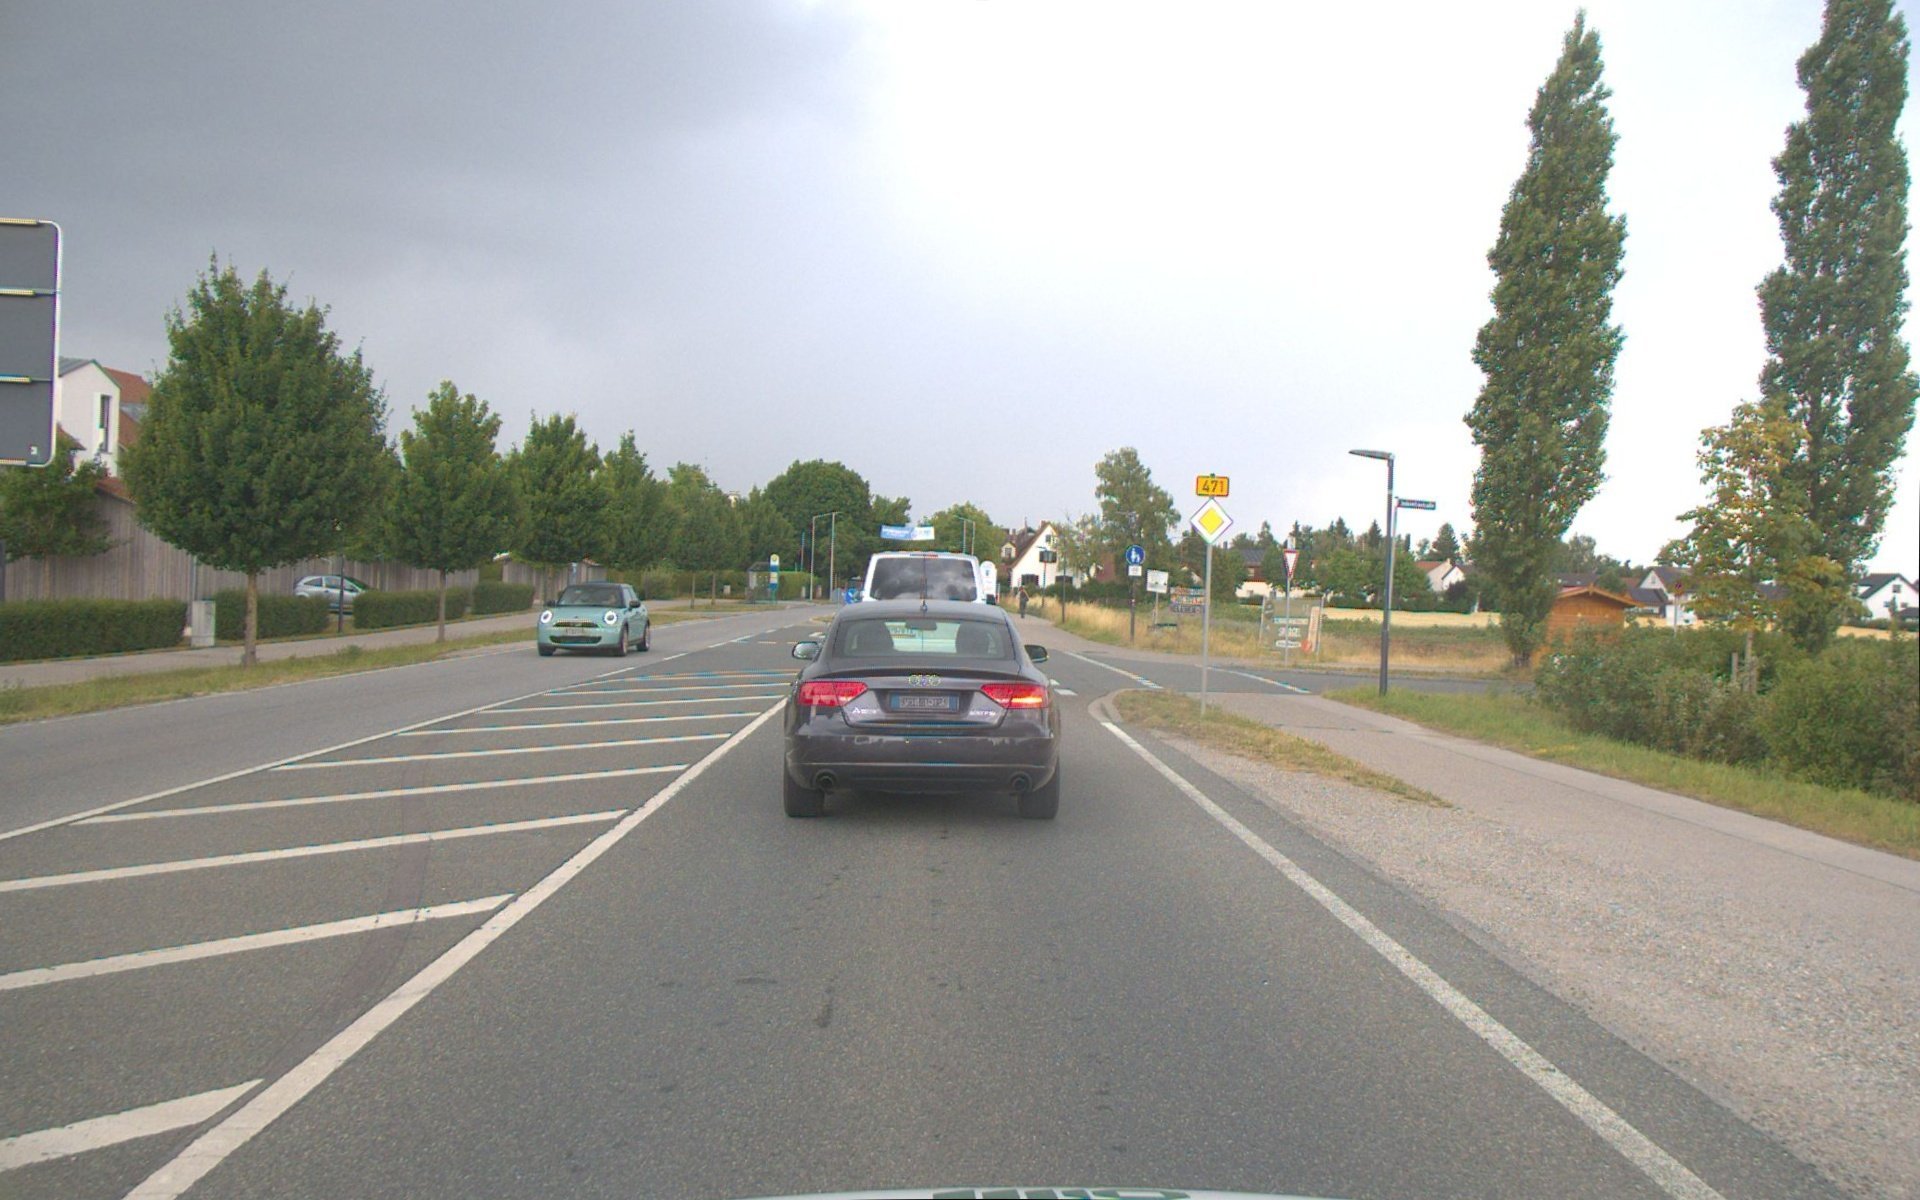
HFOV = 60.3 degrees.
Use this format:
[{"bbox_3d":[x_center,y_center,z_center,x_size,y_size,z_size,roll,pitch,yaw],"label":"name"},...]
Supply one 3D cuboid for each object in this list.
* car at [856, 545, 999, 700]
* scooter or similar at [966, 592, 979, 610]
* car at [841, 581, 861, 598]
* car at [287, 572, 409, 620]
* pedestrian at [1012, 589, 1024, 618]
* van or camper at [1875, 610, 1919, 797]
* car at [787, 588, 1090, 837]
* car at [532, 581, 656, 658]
[{"bbox_3d":[-0.512,0.269,23.741,1.789,1.946,3.998,3,1,-3],"label":"car"},{"bbox_3d":[0.822,0.069,107.562,0.831,1.123,1.094,0,1,-1],"label":"scooter or similar"},{"bbox_3d":[-9.837,-0.956,149.801,1.620,1.454,3.601,0,1,-1],"label":"car"},{"bbox_3d":[-23.768,-0.165,64.284,3.906,1.583,2.000,3,1,0],"label":"car"},{"bbox_3d":[3.220,0.190,91.381,0.611,1.551,0.679,0,0,-2],"label":"pedestrian"},{"bbox_3d":[16.101,1.431,22.335,6.338,2.507,2.280,0,1,-4],"label":"van or camper"},{"bbox_3d":[-0.324,0.642,11.929,1.790,1.413,4.383,0,1,-5],"label":"car"},{"bbox_3d":[-7.456,0.352,34.035,1.734,1.469,3.999,1,1,-1],"label":"car"}]
